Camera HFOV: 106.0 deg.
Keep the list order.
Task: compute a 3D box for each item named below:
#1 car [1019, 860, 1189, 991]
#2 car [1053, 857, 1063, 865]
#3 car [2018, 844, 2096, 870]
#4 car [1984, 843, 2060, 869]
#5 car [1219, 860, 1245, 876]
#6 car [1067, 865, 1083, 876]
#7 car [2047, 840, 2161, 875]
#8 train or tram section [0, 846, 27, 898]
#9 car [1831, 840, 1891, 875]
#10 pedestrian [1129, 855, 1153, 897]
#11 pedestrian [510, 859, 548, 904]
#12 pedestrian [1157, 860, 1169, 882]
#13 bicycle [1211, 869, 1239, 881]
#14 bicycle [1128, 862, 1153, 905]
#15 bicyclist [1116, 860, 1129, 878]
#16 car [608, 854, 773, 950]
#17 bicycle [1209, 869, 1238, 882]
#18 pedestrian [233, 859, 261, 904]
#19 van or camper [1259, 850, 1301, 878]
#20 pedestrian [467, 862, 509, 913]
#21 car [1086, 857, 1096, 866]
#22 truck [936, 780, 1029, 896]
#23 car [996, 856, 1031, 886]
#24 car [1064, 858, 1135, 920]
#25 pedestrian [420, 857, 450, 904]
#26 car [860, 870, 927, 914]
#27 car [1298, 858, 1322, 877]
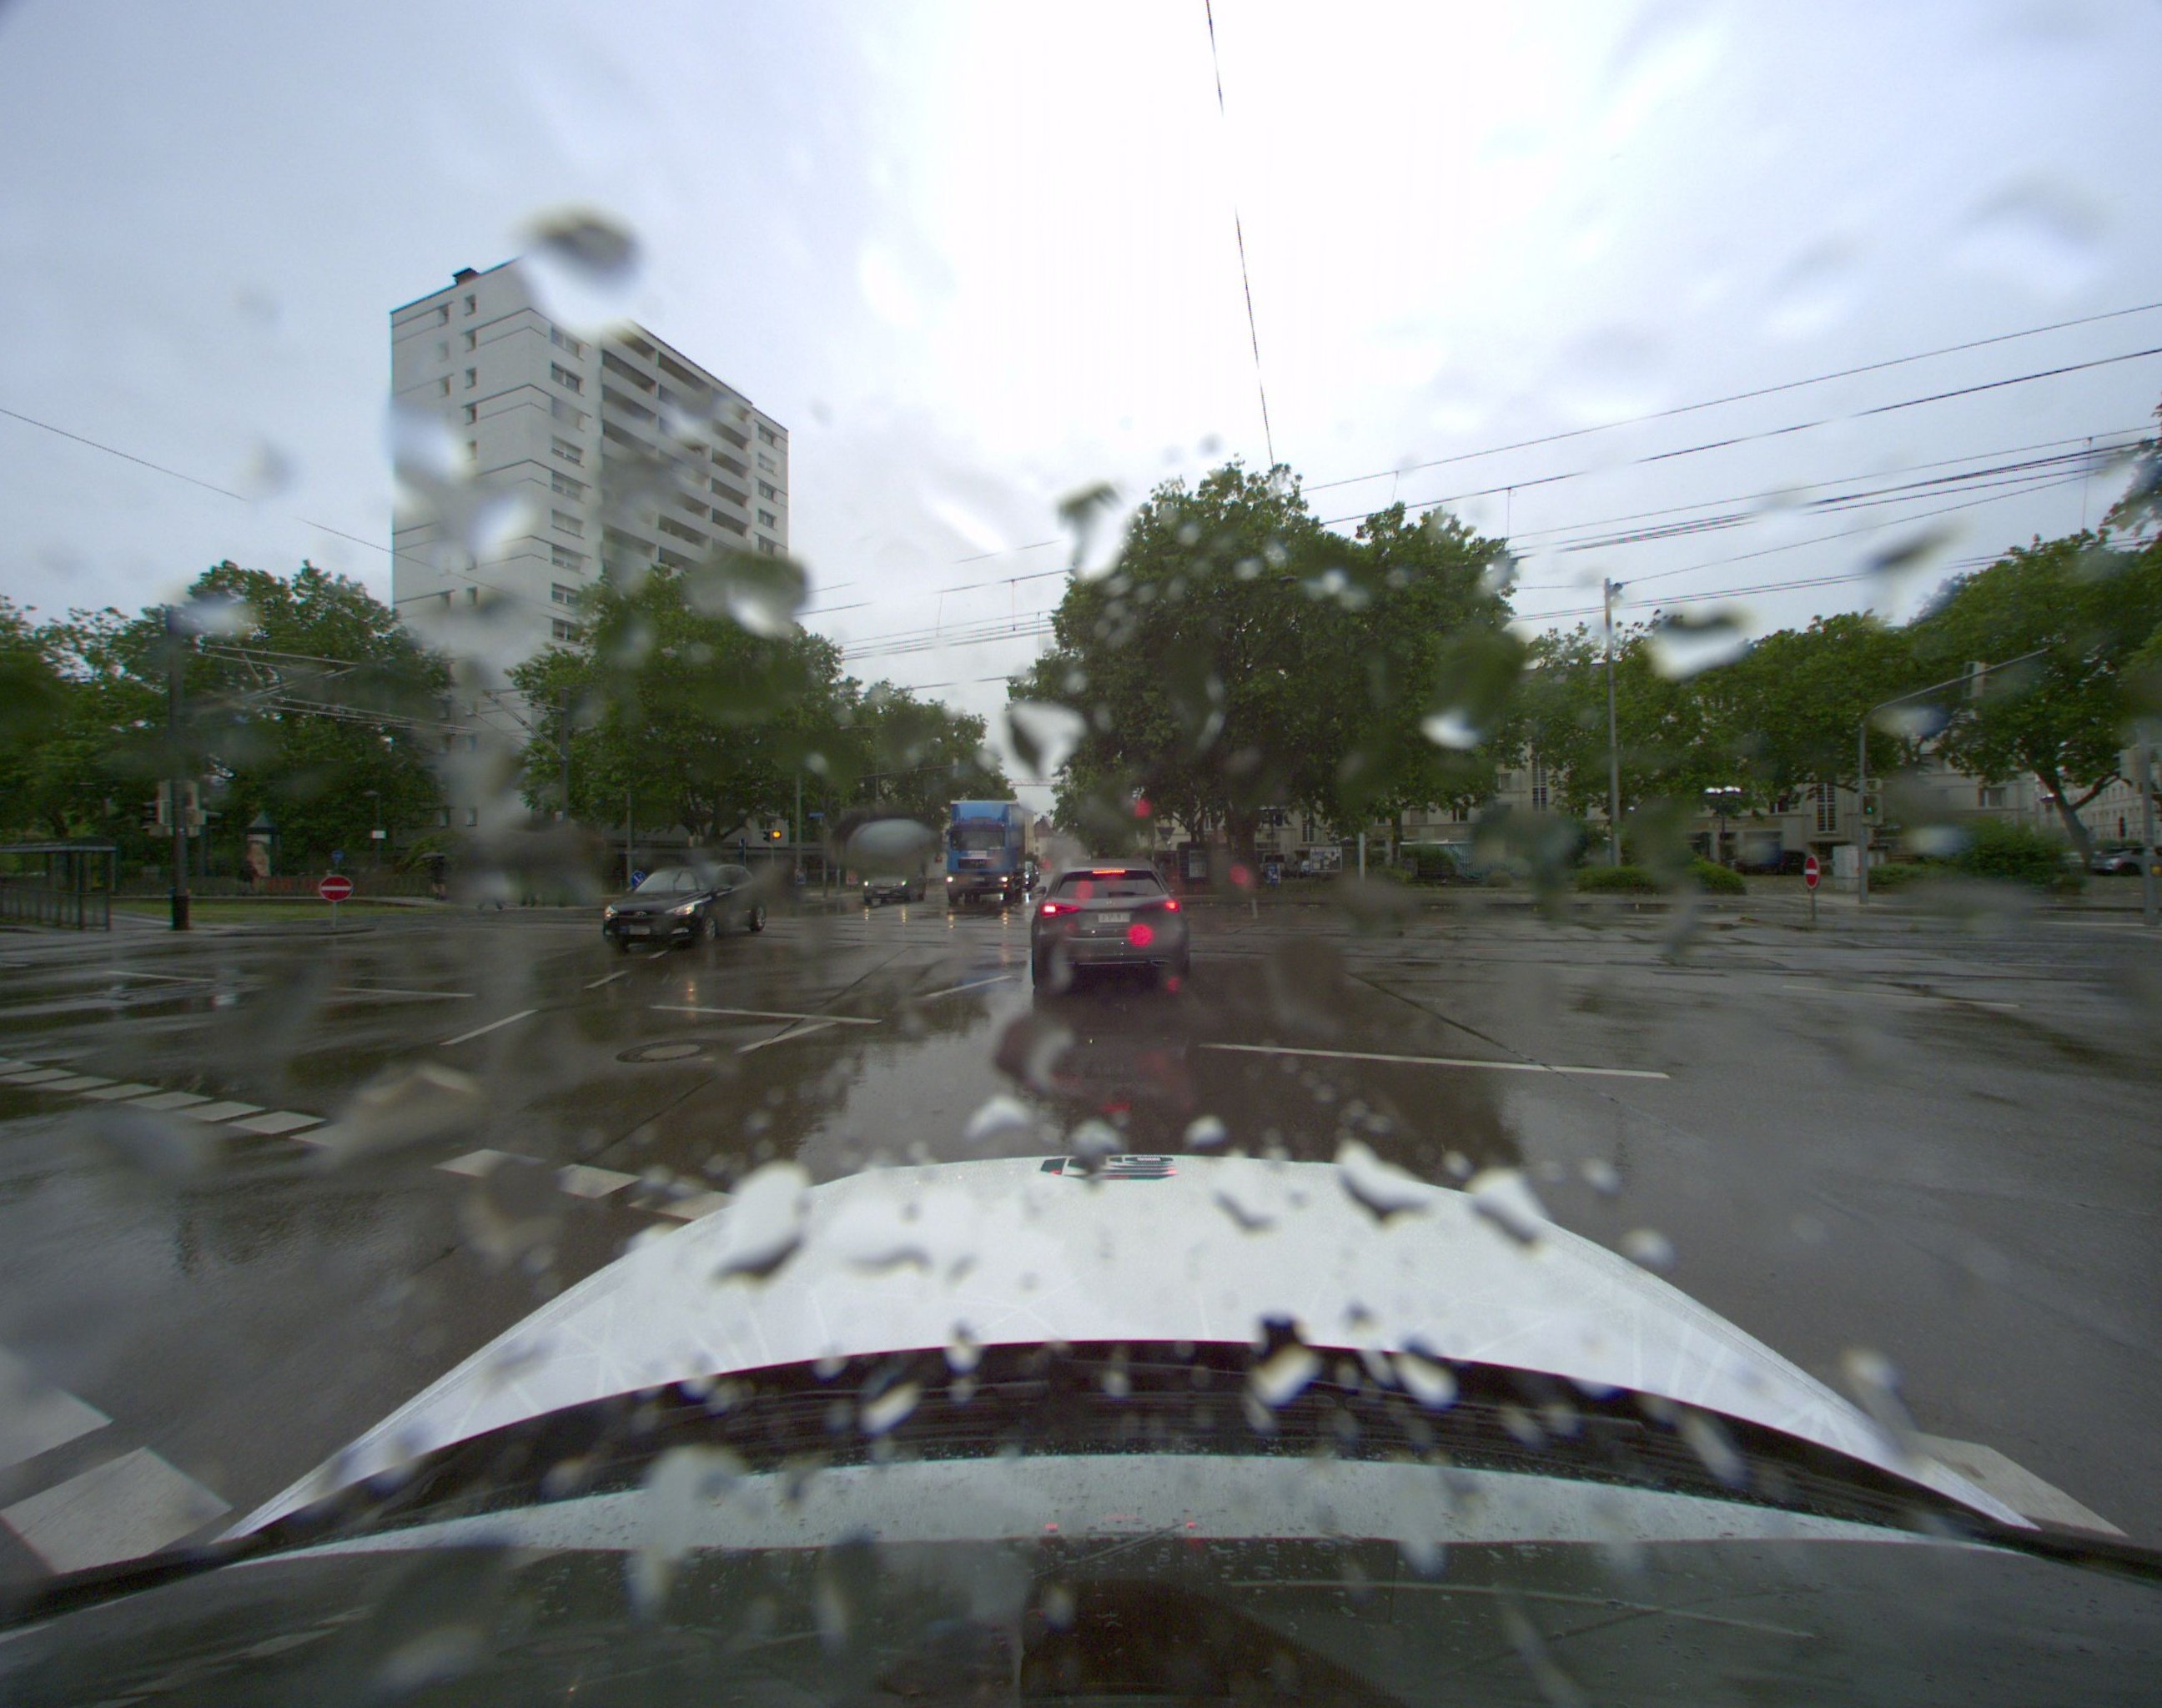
[{"bbox_3d":[0.212,0.771,10.330,1.786,1.372,3.504,0,-1,-2],"label":"car"},{"bbox_3d":[-5.333,1.595,188.979,1.882,1.836,4.002,-1,-1,2],"label":"car"},{"bbox_3d":[64.490,0.225,53.914,1.695,1.618,4.022,0,-1,24],"label":"car"},{"bbox_3d":[61.412,0.190,53.228,1.695,1.618,4.022,0,-1,24],"label":"car"},{"bbox_3d":[13.414,1.282,72.211,1.568,1.337,3.279,-2,-3,23],"label":"car"},{"bbox_3d":[-0.862,2.302,113.318,1.989,1.574,3.996,-1,-1,-2],"label":"car"},{"bbox_3d":[51.040,0.197,40.505,1.978,1.618,4.018,-2,-1,18],"label":"car"},{"bbox_3d":[-78.096,1.332,56.466,11.438,3.504,3.089,-1,-1,22],"label":"train or tram section"},{"bbox_3d":[53.472,0.268,55.928,1.535,2.204,4.120,-2,-3,23],"label":"car"},{"bbox_3d":[2.051,0.734,27.794,0.740,1.398,1.048,-2,-1,5],"label":"pedestrian"},{"bbox_3d":[-20.485,1.019,30.248,0.809,1.648,0.796,-2,-1,11],"label":"pedestrian"},{"bbox_3d":[6.172,1.271,61.103,0.716,1.669,0.663,-1,-1,-10],"label":"pedestrian"},{"bbox_3d":[11.977,1.734,67.783,2.227,0.968,0.588,-1,-1,21],"label":"bicycle"},{"bbox_3d":[2.076,0.988,27.944,0.745,1.377,2.711,-2,-1,6],"label":"bicycle"},{"bbox_3d":[4.440,1.590,86.864,0.941,1.868,1.135,-1,-2,-20],"label":"bicyclist"},{"bbox_3d":[-7.276,0.833,15.597,1.742,1.546,3.768,-1,-1,-8],"label":"car"},{"bbox_3d":[11.761,1.774,67.166,2.232,0.968,0.537,-1,-1,21],"label":"bicycle"},{"bbox_3d":[-38.994,1.261,38.075,0.694,2.077,0.640,-1,-1,17],"label":"pedestrian"},{"bbox_3d":[17.414,0.875,71.005,2.374,2.231,5.461,-2,-1,26],"label":"van or camper"},{"bbox_3d":[-19.742,1.108,27.119,0.829,1.648,0.759,-2,-1,14],"label":"pedestrian"},{"bbox_3d":[2.259,1.732,181.495,2.038,1.836,4.794,-1,-1,2],"label":"car"},{"bbox_3d":[-3.815,-0.502,33.932,2.838,4.025,10.307,-2,-1,-2],"label":"truck"},{"bbox_3d":[-3.822,0.945,46.674,1.737,1.604,3.998,-1,-1,-1],"label":"car"},{"bbox_3d":[0.384,0.835,20.669,1.603,1.372,3.997,-2,-1,-1],"label":"car"},{"bbox_3d":[-25.557,1.038,32.220,0.671,1.838,0.643,-2,-1,21],"label":"pedestrian"},{"bbox_3d":[-7.254,1.427,31.951,1.722,1.546,4.336,-2,-1,-2],"label":"car"},{"bbox_3d":[19.605,1.187,69.659,1.666,1.575,3.753,-1,-2,19],"label":"car"}]
